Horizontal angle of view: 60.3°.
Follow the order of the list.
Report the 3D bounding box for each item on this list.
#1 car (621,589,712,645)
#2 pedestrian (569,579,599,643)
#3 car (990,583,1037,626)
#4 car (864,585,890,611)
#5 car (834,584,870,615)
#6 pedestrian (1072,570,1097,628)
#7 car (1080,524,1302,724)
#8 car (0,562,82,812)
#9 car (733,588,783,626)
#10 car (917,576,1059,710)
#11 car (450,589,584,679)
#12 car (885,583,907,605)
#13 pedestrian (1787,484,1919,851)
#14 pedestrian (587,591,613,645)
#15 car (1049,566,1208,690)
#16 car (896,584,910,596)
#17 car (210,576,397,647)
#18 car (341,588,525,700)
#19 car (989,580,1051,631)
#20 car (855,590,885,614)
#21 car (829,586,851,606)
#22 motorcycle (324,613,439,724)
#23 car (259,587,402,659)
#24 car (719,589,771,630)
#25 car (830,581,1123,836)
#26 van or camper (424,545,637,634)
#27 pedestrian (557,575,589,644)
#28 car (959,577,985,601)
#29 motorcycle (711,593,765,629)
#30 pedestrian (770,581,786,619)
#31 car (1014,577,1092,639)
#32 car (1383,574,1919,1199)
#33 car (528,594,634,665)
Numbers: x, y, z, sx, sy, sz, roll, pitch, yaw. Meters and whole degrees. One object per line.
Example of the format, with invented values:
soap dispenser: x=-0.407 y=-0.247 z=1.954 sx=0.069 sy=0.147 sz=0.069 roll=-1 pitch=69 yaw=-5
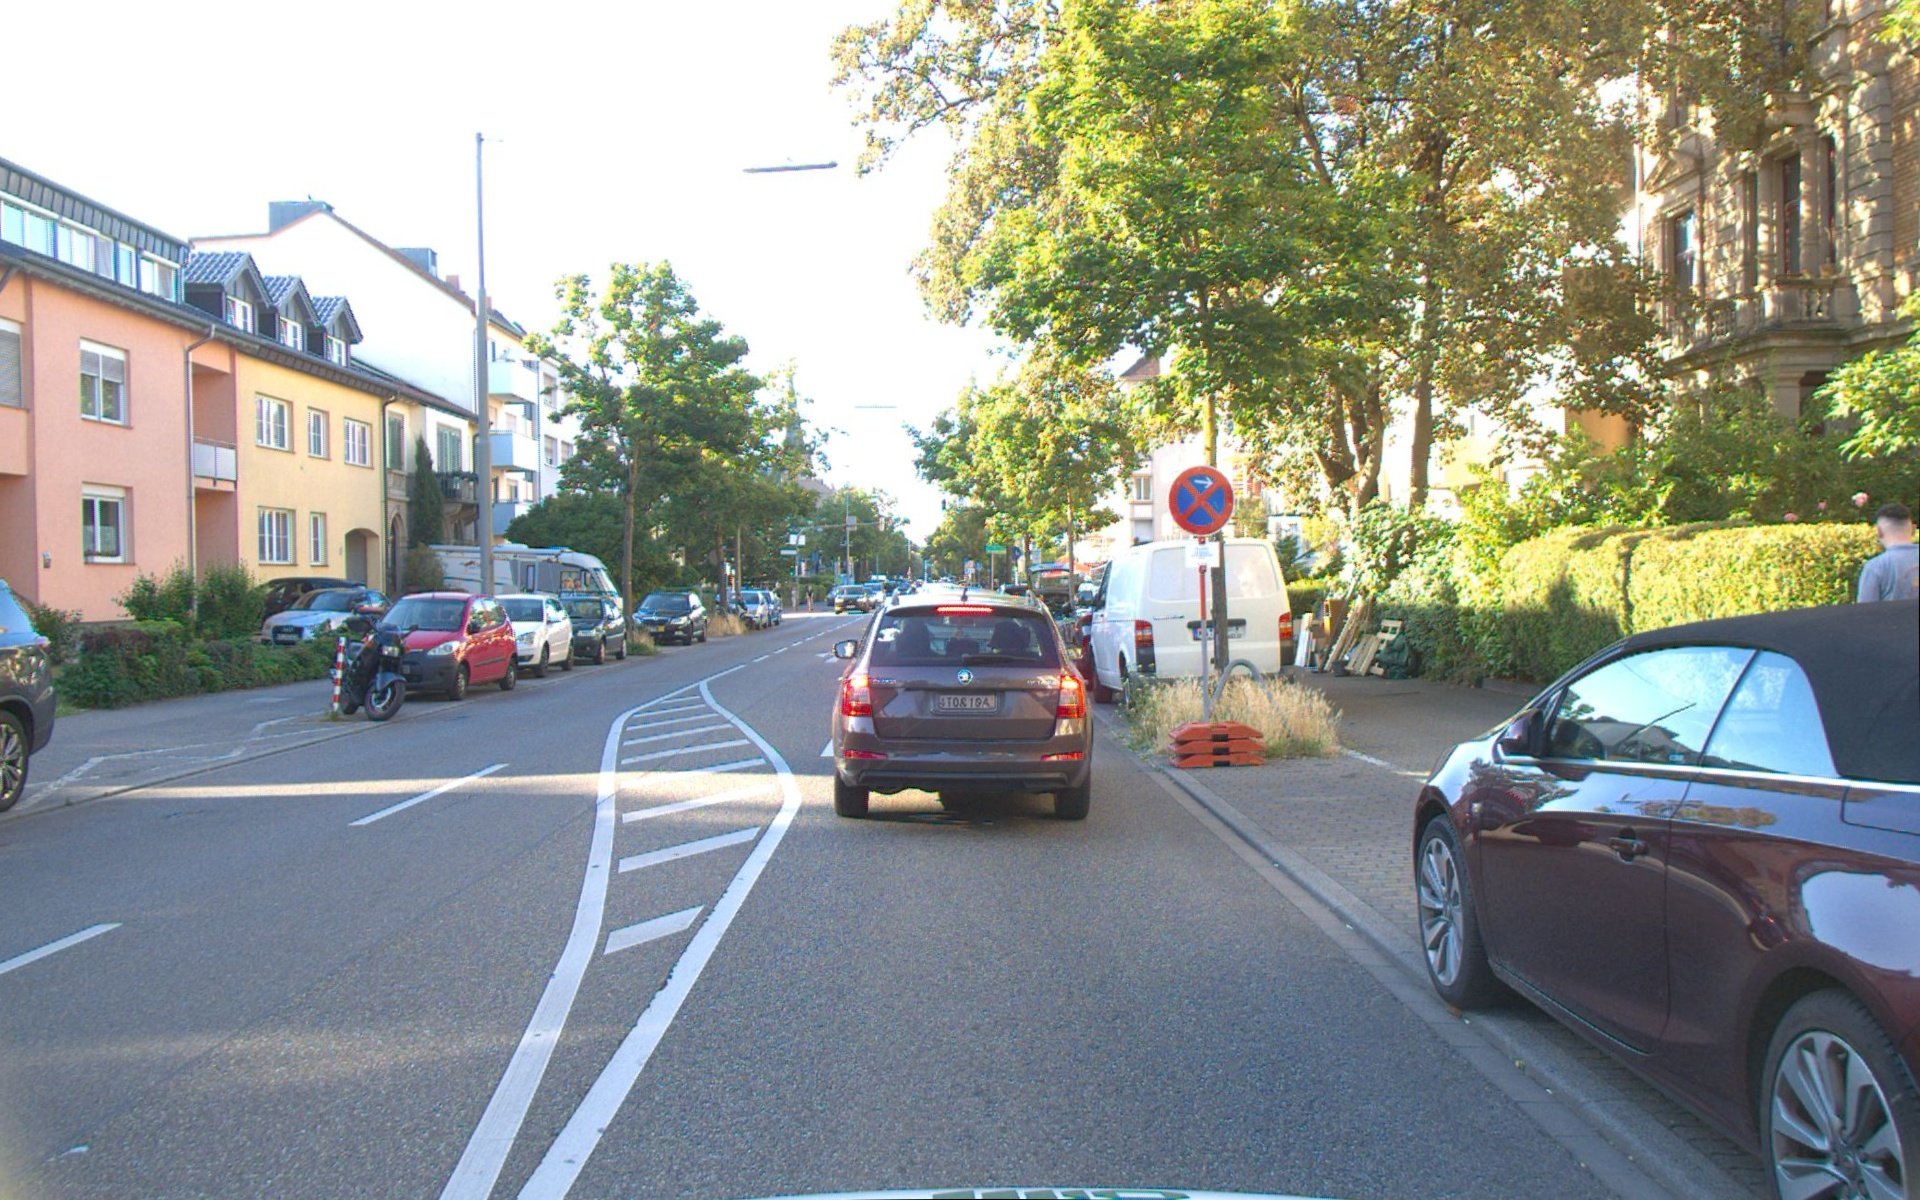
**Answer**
car: x=-8.427 y=0.448 z=47.827 sx=1.829 sy=1.520 sz=4.517 roll=1 pitch=0 yaw=-1
pedestrian: x=-10.870 y=0.326 z=47.867 sx=0.699 sy=1.824 sz=0.572 roll=-1 pitch=0 yaw=1
car: x=1.989 y=0.139 z=62.025 sx=1.668 sy=1.475 sz=4.014 roll=-2 pitch=1 yaw=1
car: x=-6.322 y=-0.190 z=125.790 sx=1.769 sy=1.836 sz=4.744 roll=-2 pitch=0 yaw=-1
car: x=-6.152 y=-0.033 z=94.304 sx=1.798 sy=1.597 sz=3.999 roll=-3 pitch=0 yaw=-1
pedestrian: x=3.889 y=-0.031 z=51.606 sx=0.649 sy=1.779 sz=0.772 roll=-2 pitch=0 yaw=0
car: x=2.678 y=0.242 z=20.249 sx=1.865 sy=2.140 sz=4.639 roll=-1 pitch=0 yaw=-3
car: x=-7.832 y=0.653 z=10.749 sx=1.849 sy=1.810 sz=4.724 roll=-1 pitch=0 yaw=-2
car: x=-8.422 y=0.280 z=69.230 sx=1.615 sy=1.544 sz=4.073 roll=0 pitch=0 yaw=-1
car: x=0.304 y=0.502 z=22.120 sx=1.701 sy=1.598 sz=3.999 roll=1 pitch=0 yaw=-1
car: x=-8.255 y=0.591 z=31.112 sx=1.561 sy=1.550 sz=3.889 roll=-1 pitch=0 yaw=-2
car: x=-6.047 y=-0.580 z=157.357 sx=1.953 sy=1.942 sz=4.963 roll=-3 pitch=1 yaw=-1
pedestrian: x=5.064 y=0.321 z=8.715 sx=0.804 sy=1.805 sz=1.088 roll=-1 pitch=0 yaw=-5
pedestrian: x=-10.284 y=0.521 z=47.237 sx=0.577 sy=1.522 sz=0.542 roll=-1 pitch=0 yaw=2
car: x=2.461 y=0.369 z=25.192 sx=1.818 sy=1.631 sz=4.310 roll=-3 pitch=1 yaw=-1
car: x=-7.590 y=-1.344 z=221.497 sx=1.793 sy=1.607 sz=4.000 roll=-1 pitch=0 yaw=-1
car: x=-16.462 y=0.276 z=41.619 sx=3.905 sy=1.664 sz=1.866 roll=1 pitch=0 yaw=0
car: x=-7.861 y=0.603 z=24.956 sx=1.560 sy=1.550 sz=3.437 roll=-1 pitch=0 yaw=2
car: x=2.006 y=0.167 z=56.214 sx=1.818 sy=1.609 sz=4.012 roll=-2 pitch=1 yaw=-1
car: x=-6.047 y=0.105 z=111.666 sx=1.725 sy=1.477 sz=4.533 roll=-3 pitch=1 yaw=-1
car: x=-9.188 y=-0.342 z=126.966 sx=1.491 sy=1.482 sz=3.584 roll=-1 pitch=0 yaw=-1
motorcycle: x=-7.426 y=0.828 z=21.153 sx=1.164 sy=1.288 sz=2.352 roll=-1 pitch=0 yaw=-24
car: x=-13.810 y=0.463 z=36.492 sx=1.630 sy=1.433 sz=3.753 roll=-2 pitch=1 yaw=1
car: x=-8.361 y=0.345 z=64.602 sx=1.561 sy=1.496 sz=3.803 roll=1 pitch=0 yaw=-1
car: x=0.052 y=0.627 z=12.006 sx=1.737 sy=1.515 sz=4.310 roll=0 pitch=0 yaw=-1
van or camper: x=-14.677 y=-0.355 z=56.871 sx=6.660 sy=2.821 sz=2.351 roll=1 pitch=0 yaw=-2
pedestrian: x=-10.399 y=0.253 z=44.450 sx=0.699 sy=1.824 sz=0.506 roll=-1 pitch=0 yaw=1
car: x=0.995 y=-0.891 z=131.409 sx=1.952 sy=1.803 sz=4.001 roll=1 pitch=0 yaw=2
motorcycle: x=-8.185 y=0.393 z=60.896 sx=2.014 sy=1.287 sz=0.764 roll=-1 pitch=0 yaw=38
pedestrian: x=-9.911 y=-0.011 z=90.161 sx=0.764 sy=2.022 sz=0.821 roll=-1 pitch=0 yaw=0
car: x=2.427 y=0.184 z=44.025 sx=1.674 sy=1.506 sz=4.267 roll=-3 pitch=1 yaw=-1
car: x=2.681 y=0.686 z=4.513 sx=1.722 sy=1.444 sz=4.614 roll=-3 pitch=1 yaw=-1
car: x=-8.163 y=0.606 z=35.883 sx=1.511 sy=1.421 sz=3.665 roll=-1 pitch=0 yaw=-1
